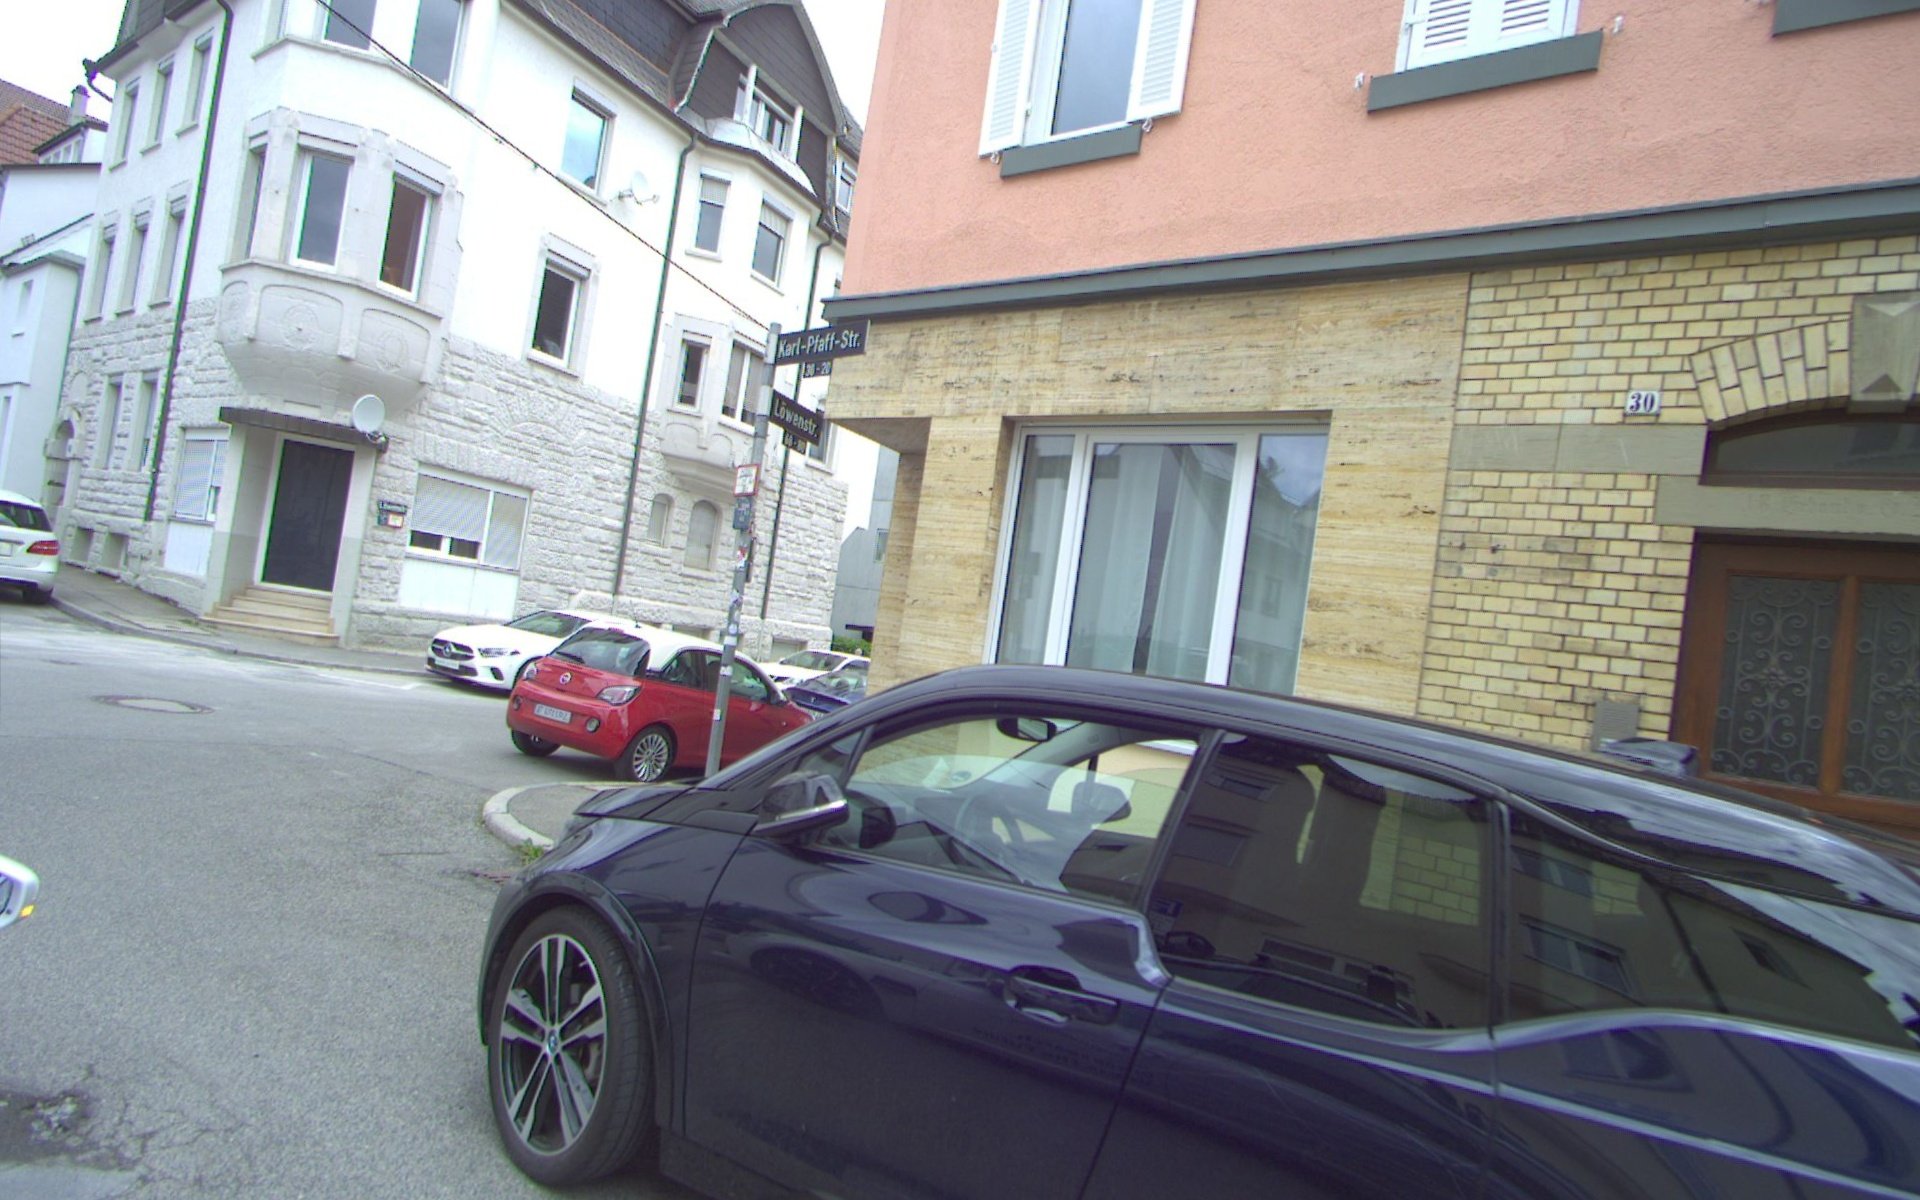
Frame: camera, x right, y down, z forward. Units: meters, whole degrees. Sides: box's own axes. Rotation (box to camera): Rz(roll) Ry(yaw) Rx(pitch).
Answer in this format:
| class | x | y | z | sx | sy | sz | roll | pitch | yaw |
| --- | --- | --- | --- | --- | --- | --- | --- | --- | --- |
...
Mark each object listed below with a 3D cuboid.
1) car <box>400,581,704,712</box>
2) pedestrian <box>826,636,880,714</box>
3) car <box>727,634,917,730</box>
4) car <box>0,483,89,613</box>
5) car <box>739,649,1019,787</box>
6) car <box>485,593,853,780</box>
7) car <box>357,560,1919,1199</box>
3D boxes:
| class | x | y | z | sx | sy | sz | roll | pitch | yaw |
| --- | --- | --- | --- | --- | --- | --- | --- | --- | --- |
| car | -6.247 | 0.835 | 15.958 | 1.675 | 1.428 | 4.244 | 8 | -4 | 28 |
| pedestrian | -2.822 | 1.971 | 26.578 | 0.841 | 1.904 | 0.811 | 11 | -4 | -37 |
| car | -2.876 | 1.852 | 21.988 | 1.819 | 1.531 | 4.244 | 8 | -4 | 28 |
| car | -14.886 | -1.004 | 14.896 | 3.962 | 1.616 | 1.825 | 9 | -3 | 34 |
| car | -0.996 | 1.798 | 14.761 | 1.827 | 1.417 | 4.294 | 9 | -4 | 30 |
| car | -2.936 | 1.019 | 10.943 | 1.644 | 1.494 | 3.629 | 8 | -4 | 27 |
| car | 0.419 | 0.971 | 2.737 | 3.962 | 1.559 | 1.823 | 7 | -4 | 33 |
